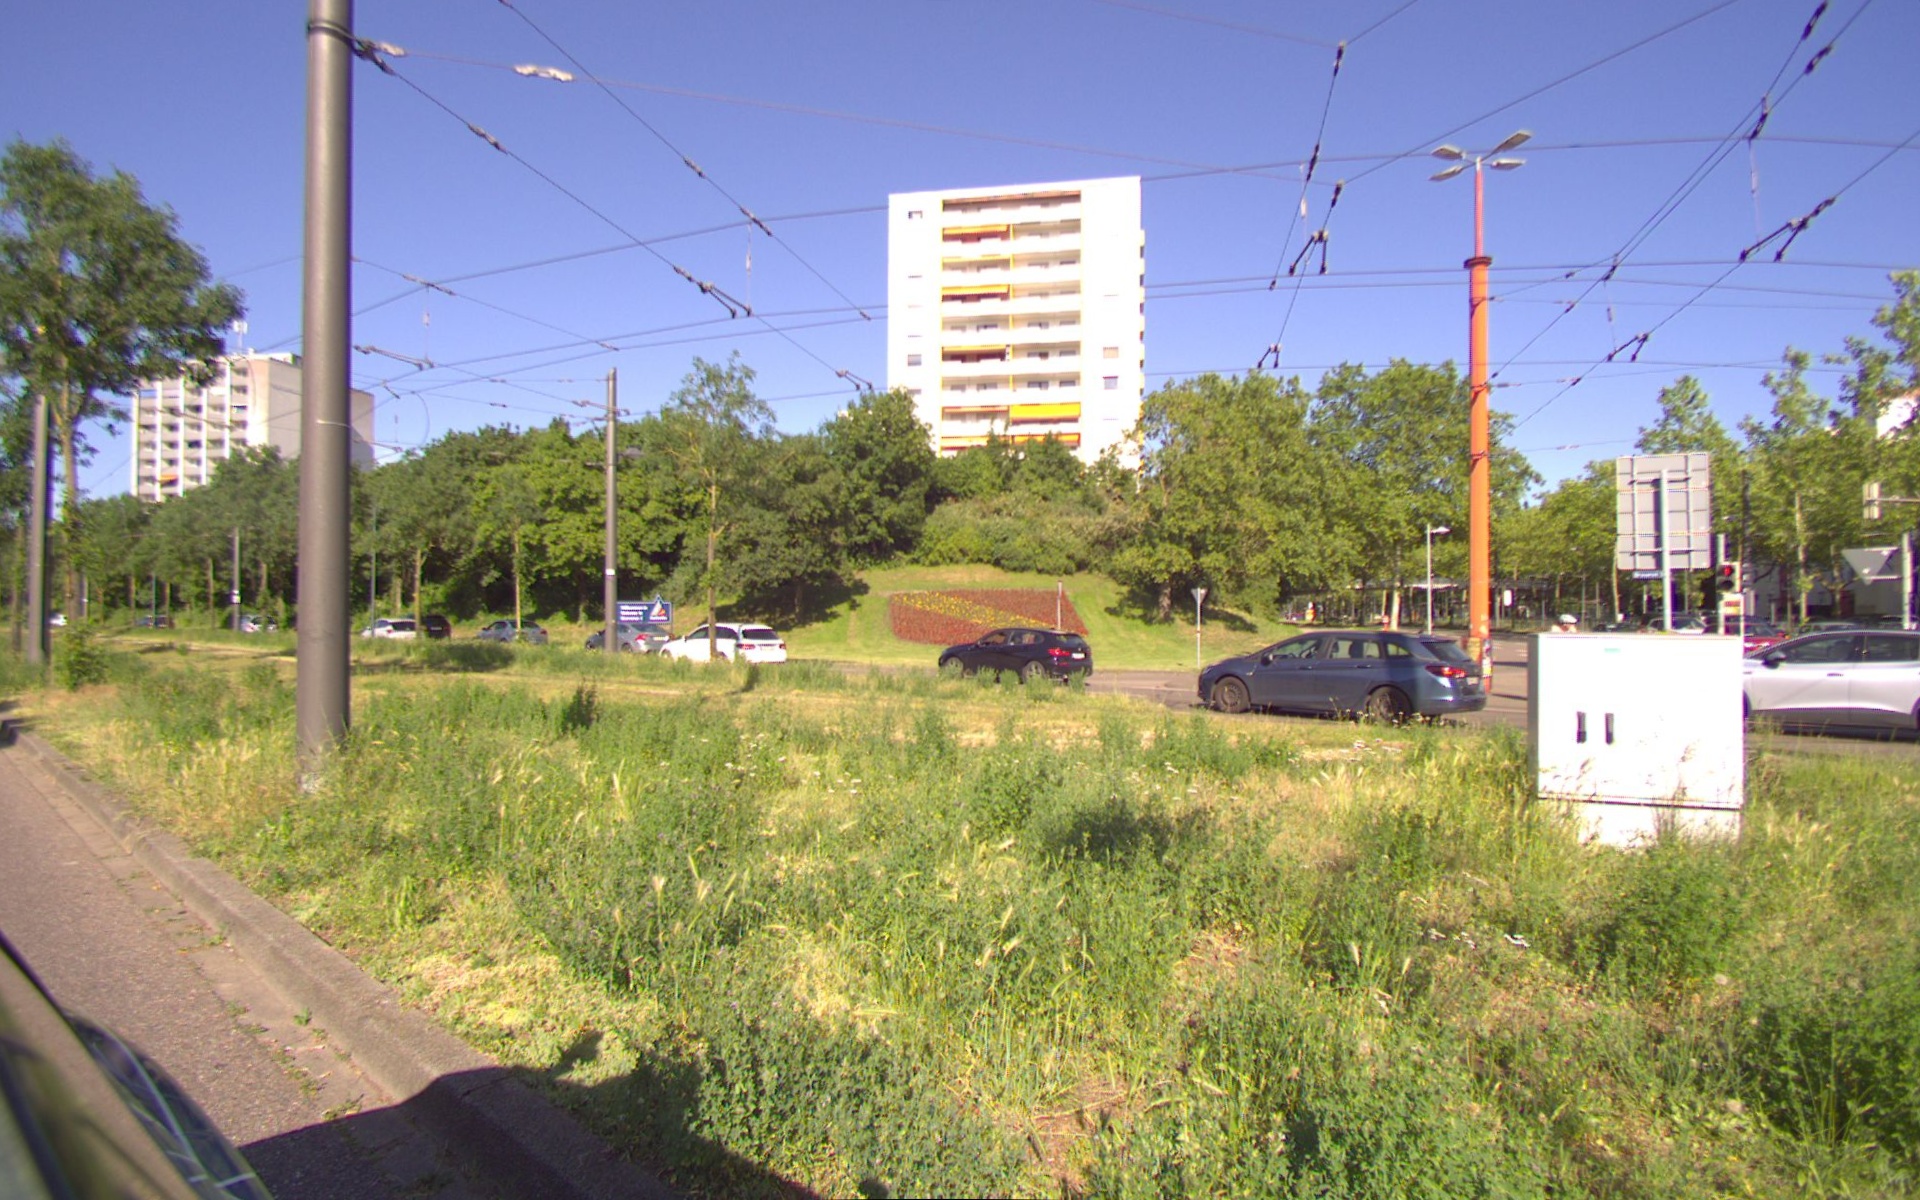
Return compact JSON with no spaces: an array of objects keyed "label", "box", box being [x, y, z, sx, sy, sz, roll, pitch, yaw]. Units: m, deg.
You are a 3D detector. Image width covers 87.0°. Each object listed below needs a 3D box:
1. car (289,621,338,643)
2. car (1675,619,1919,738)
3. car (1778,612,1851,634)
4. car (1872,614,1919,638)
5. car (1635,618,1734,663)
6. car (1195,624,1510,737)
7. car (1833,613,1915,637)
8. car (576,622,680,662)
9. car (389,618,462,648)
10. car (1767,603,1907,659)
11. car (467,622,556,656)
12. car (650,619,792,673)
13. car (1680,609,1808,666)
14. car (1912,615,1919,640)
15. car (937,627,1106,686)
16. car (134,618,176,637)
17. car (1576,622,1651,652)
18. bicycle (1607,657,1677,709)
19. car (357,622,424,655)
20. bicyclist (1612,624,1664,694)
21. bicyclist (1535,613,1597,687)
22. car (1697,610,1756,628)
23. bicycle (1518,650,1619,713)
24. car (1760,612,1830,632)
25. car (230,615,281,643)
[{"label":"car","box":[-41.058,2.000,64.232,4.177,1.307,1.639,-1,0,43]},{"label":"car","box":[13.317,1.096,14.798,4.439,1.613,1.817,-1,-2,44]},{"label":"car","box":[67.071,1.779,79.503,1.864,1.608,4.010,0,0,-34]},{"label":"car","box":[64.822,1.766,68.709,1.864,1.608,4.010,0,0,-34]},{"label":"car","box":[30.622,1.685,42.907,1.893,1.763,3.985,-1,0,11]},{"label":"car","box":[6.366,1.211,16.755,4.465,1.606,1.971,-1,-2,44]},{"label":"car","box":[65.532,1.772,72.609,1.864,1.608,4.010,0,0,-34]},{"label":"car","box":[-12.850,1.573,39.036,4.400,1.384,1.972,-1,0,43]},{"label":"car","box":[-28.136,1.688,53.184,4.631,1.492,1.972,-1,0,43]},{"label":"car","box":[32.006,1.089,37.110,1.979,1.915,4.259,-1,0,11]},{"label":"car","box":[-20.695,1.764,46.618,4.693,1.443,1.972,-1,-2,42]},{"label":"car","box":[-7.006,1.280,29.347,4.642,1.433,1.685,-1,-2,42]},{"label":"car","box":[28.672,1.322,37.207,1.979,1.915,4.259,-1,0,11]},{"label":"car","box":[64.141,1.761,65.004,1.864,1.608,4.010,0,0,-34]},{"label":"car","box":[1.520,1.378,25.778,4.030,1.352,1.841,-1,-2,42]},{"label":"car","box":[-62.720,2.110,78.809,4.992,1.420,1.971,-1,0,44]},{"label":"car","box":[31.811,1.766,49.390,1.718,1.332,3.985,-1,0,11]},{"label":"bicycle","box":[13.311,1.612,19.802,0.363,0.889,1.624,-1,0,4]},{"label":"car","box":[-26.567,1.819,47.155,4.183,1.484,1.571,-3,-4,44]},{"label":"bicyclist","box":[13.328,1.156,19.904,0.541,1.333,0.699,-1,0,4]},{"label":"bicyclist","box":[12.066,0.986,20.181,0.741,1.441,0.757,-1,0,-3]},{"label":"car","box":[71.655,1.782,94.697,1.864,1.608,4.010,0,0,-34]},{"label":"bicycle","box":[12.067,1.590,20.179,0.467,1.089,2.362,-1,0,-3]},{"label":"car","box":[68.297,1.777,82.828,1.864,1.608,4.010,0,0,-34]},{"label":"car","box":[-42.636,1.732,61.205,3.757,1.620,1.744,-1,-2,42]}]
